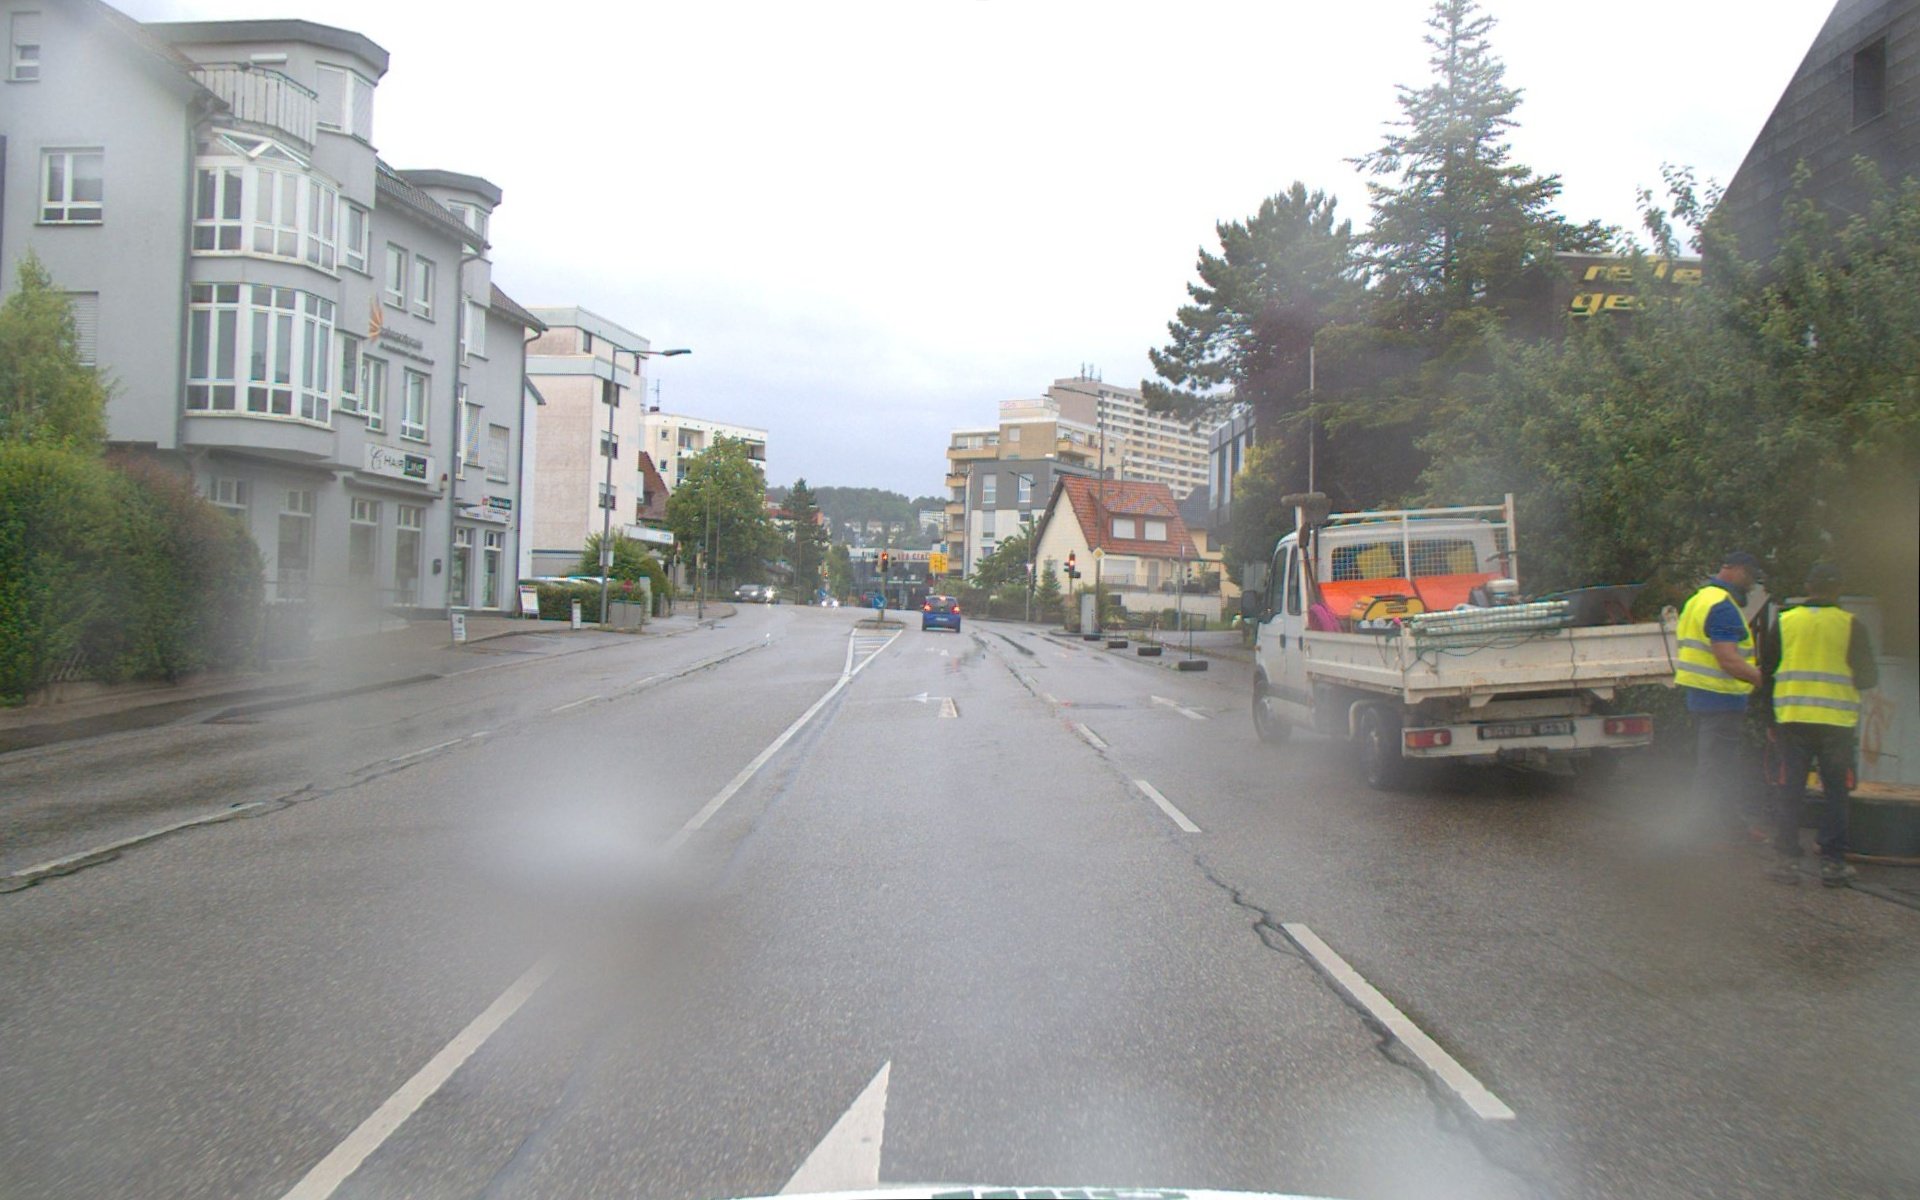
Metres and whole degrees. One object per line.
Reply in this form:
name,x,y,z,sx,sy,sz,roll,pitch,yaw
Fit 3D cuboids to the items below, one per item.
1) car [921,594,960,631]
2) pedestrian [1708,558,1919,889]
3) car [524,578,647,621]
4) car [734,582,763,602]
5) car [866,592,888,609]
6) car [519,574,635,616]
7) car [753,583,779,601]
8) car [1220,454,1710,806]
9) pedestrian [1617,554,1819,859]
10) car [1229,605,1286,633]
car,-0.807,0.488,68.800,1.546,1.435,3.270,2,0,0
pedestrian,4.641,0.631,9.020,0.565,1.693,0.941,-1,0,-12
car,-14.227,-0.010,62.922,4.130,1.499,1.905,2,0,5
car,-16.156,-0.582,126.508,1.742,1.445,3.830,2,0,-1
car,-7.649,0.014,151.893,1.776,1.512,4.189,1,0,0
car,-16.284,-0.224,70.432,4.356,1.665,1.941,2,0,9
car,-15.672,-0.635,133.672,1.680,1.411,4.020,2,0,-1
car,4.067,0.203,14.869,2.343,2.474,6.431,0,0,-1
pedestrian,4.540,0.603,9.951,0.696,1.737,0.889,-1,0,-12
car,17.717,1.130,98.409,1.710,1.541,3.984,2,0,36
